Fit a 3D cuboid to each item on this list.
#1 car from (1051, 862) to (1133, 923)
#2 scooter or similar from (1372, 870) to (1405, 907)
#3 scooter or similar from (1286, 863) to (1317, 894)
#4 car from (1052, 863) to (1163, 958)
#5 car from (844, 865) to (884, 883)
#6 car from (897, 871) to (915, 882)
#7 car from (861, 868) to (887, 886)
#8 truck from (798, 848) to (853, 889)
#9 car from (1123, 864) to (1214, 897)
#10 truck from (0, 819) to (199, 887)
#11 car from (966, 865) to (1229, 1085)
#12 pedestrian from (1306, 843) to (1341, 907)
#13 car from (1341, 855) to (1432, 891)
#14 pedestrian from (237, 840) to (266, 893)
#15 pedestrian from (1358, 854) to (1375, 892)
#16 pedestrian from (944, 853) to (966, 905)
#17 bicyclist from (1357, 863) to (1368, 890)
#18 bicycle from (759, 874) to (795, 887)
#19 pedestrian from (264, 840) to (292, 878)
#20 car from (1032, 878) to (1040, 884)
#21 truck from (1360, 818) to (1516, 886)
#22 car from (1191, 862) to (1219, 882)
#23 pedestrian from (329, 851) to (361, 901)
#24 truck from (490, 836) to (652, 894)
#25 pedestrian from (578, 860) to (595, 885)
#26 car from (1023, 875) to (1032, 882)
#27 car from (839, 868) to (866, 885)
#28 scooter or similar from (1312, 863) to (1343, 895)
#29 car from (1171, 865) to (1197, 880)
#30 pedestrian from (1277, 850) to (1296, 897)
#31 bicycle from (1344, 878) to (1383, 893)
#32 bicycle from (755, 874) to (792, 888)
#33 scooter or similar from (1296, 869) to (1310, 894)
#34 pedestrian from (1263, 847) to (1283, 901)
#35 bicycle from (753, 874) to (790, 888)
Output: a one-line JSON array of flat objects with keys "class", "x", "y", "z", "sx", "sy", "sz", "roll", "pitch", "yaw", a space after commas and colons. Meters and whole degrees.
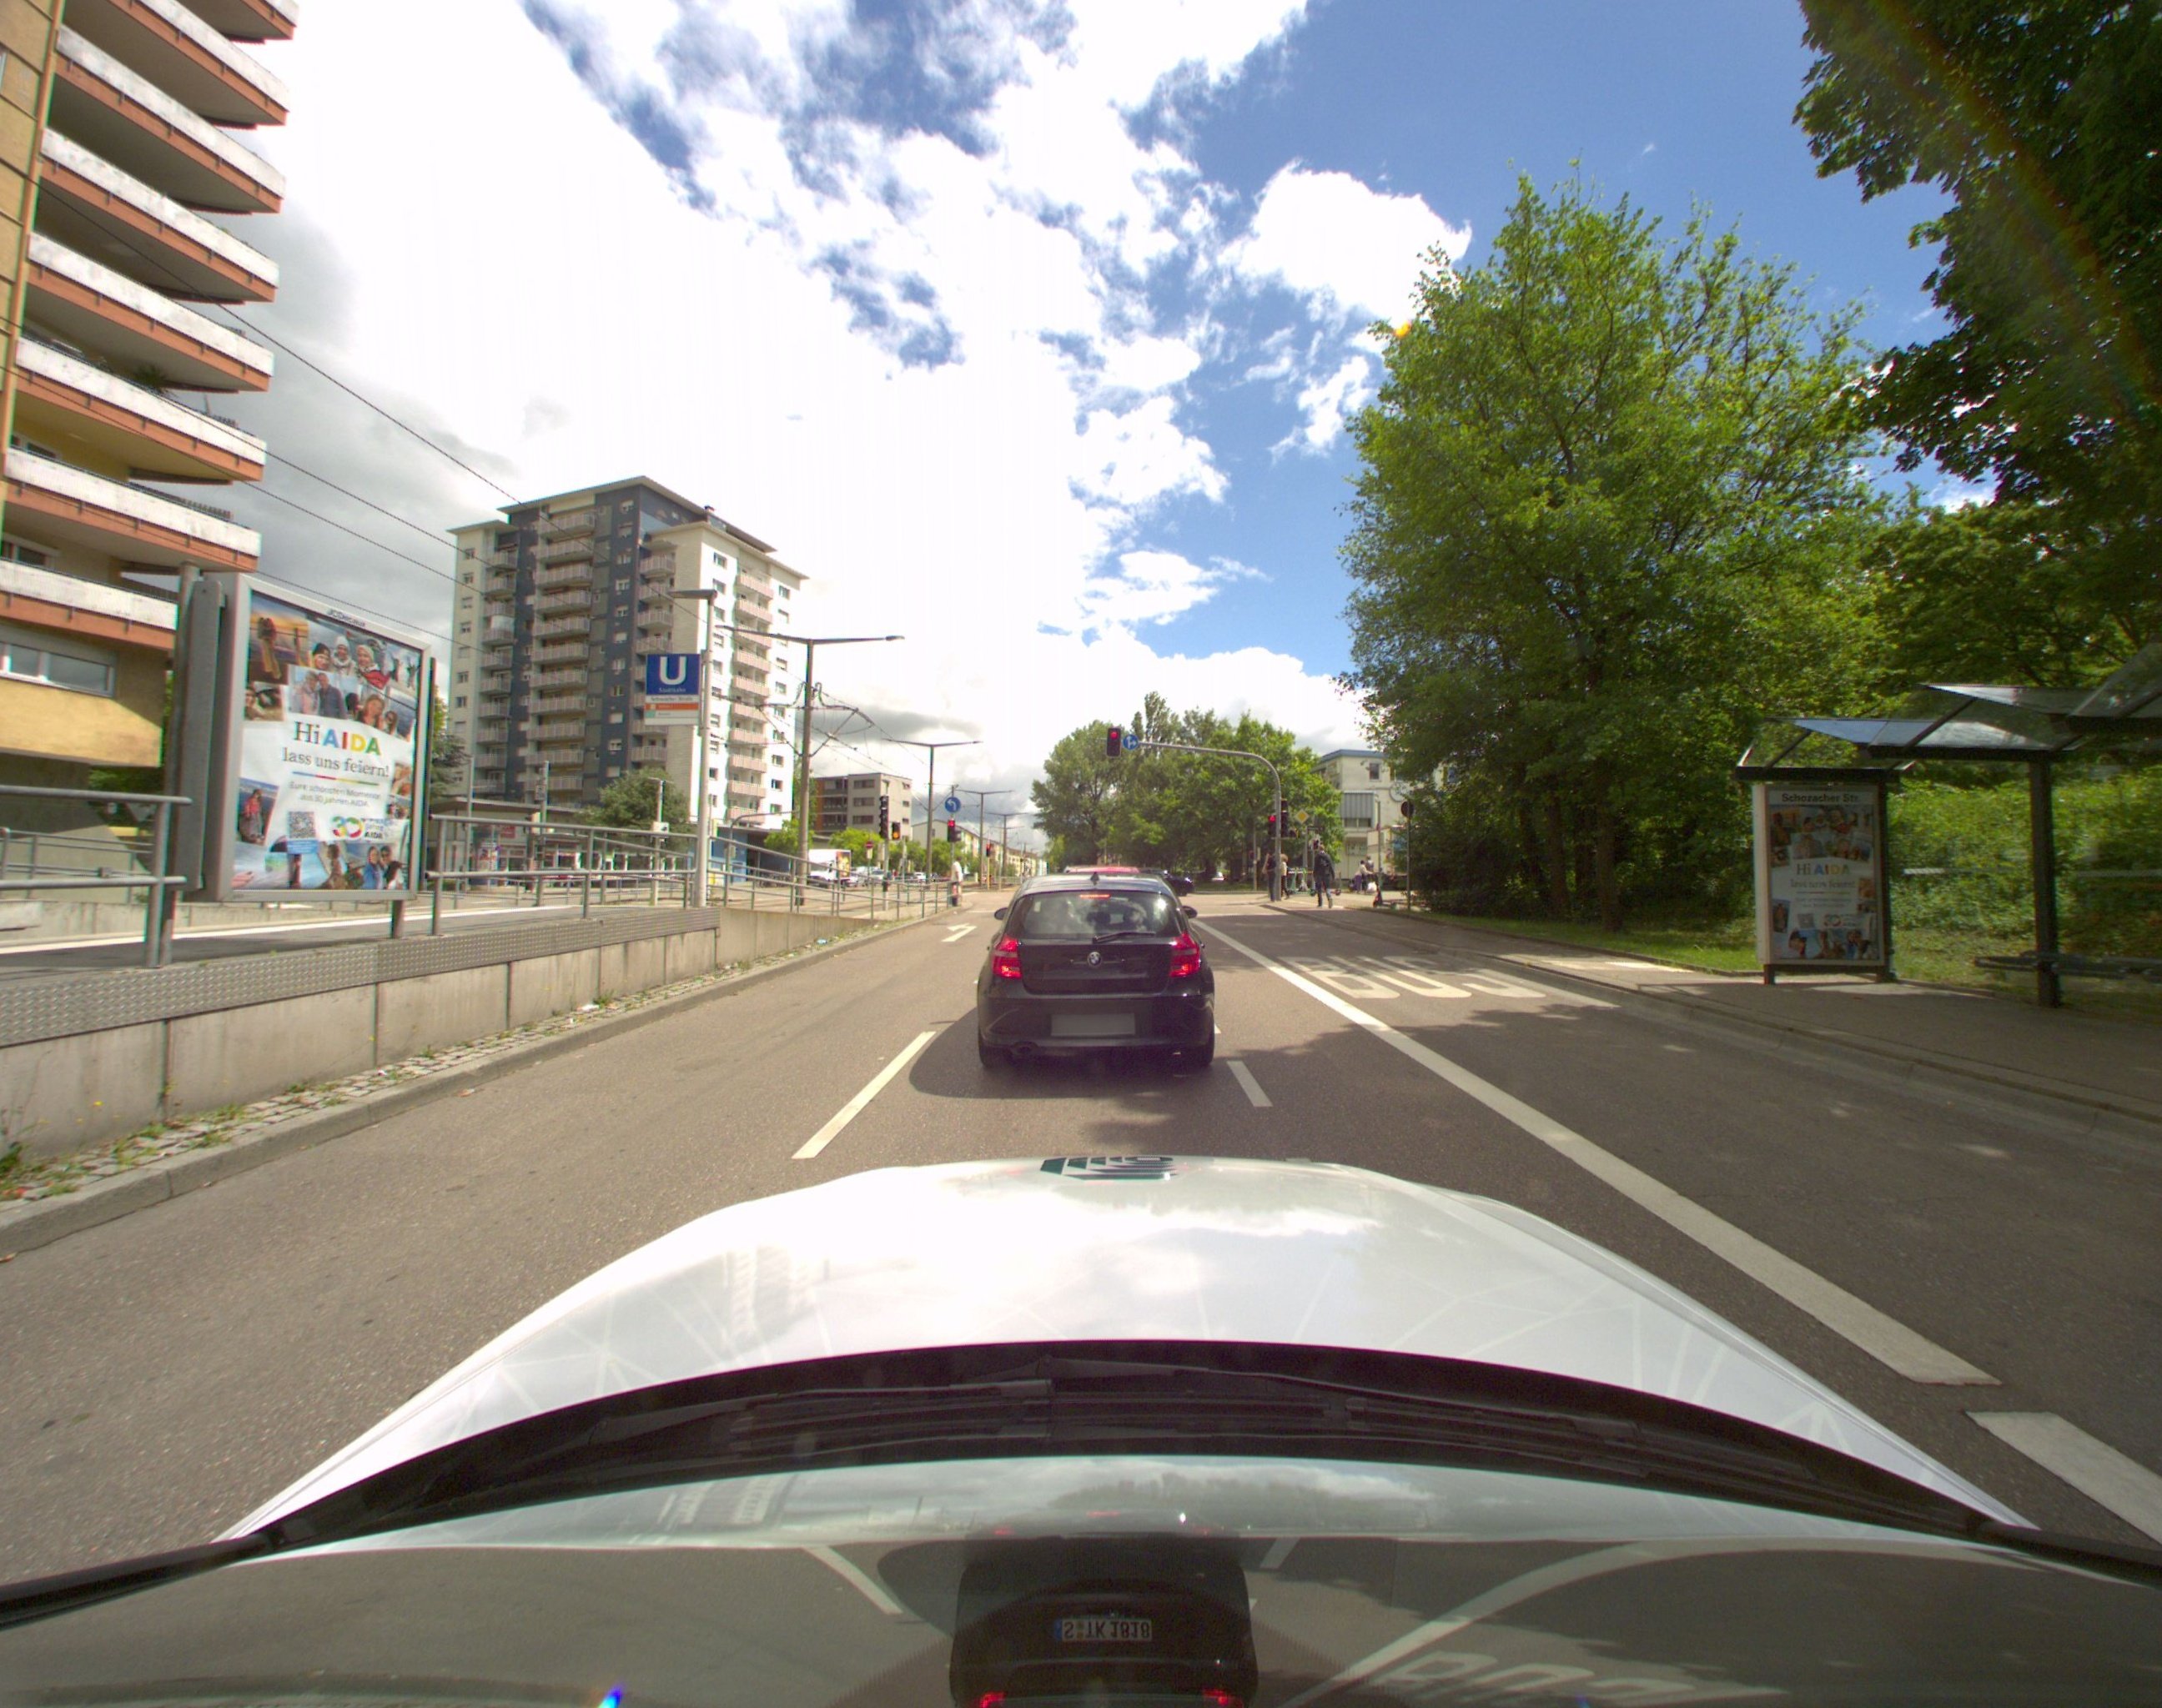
[{"class": "car", "x": 0.333, "y": 0.920, "z": 21.219, "sx": 1.893, "sy": 1.422, "sz": 4.540, "roll": 0, "pitch": -1, "yaw": 2}, {"class": "scooter or similar", "x": 10.707, "y": 1.195, "z": 28.384, "sx": 0.886, "sy": 1.230, "sz": 0.455, "roll": 4, "pitch": -1, "yaw": 1}, {"class": "scooter or similar", "x": 8.875, "y": 0.993, "z": 32.809, "sx": 1.105, "sy": 1.235, "sz": 0.540, "roll": 0, "pitch": -1, "yaw": 4}, {"class": "car", "x": 0.444, "y": 0.856, "z": 13.742, "sx": 1.632, "sy": 1.400, "sz": 3.421, "roll": 0, "pitch": -1, "yaw": 2}, {"class": "car", "x": -24.057, "y": 2.200, "z": 90.407, "sx": 3.945, "sy": 1.975, "sz": 1.637, "roll": 0, "pitch": -1, "yaw": -41}, {"class": "car", "x": -24.146, "y": 3.041, "z": 112.663, "sx": 1.586, "sy": 1.474, "sz": 3.775, "roll": 0, "pitch": -1, "yaw": 1}, {"class": "car", "x": -20.838, "y": 2.275, "z": 82.082, "sx": 1.586, "sy": 1.756, "sz": 3.775, "roll": 0, "pitch": -1, "yaw": 1}, {"class": "truck", "x": -20.523, "y": 1.179, "z": 65.810, "sx": 2.275, "sy": 3.118, "sz": 7.312, "roll": 0, "pitch": -1, "yaw": -2}, {"class": "car", "x": 4.245, "y": 1.258, "z": 39.548, "sx": 3.995, "sy": 1.486, "sz": 1.837, "roll": 0, "pitch": -1, "yaw": -16}, {"class": "truck", "x": -34.575, "y": -0.023, "z": 28.757, "sx": 4.262, "sy": 2.290, "sz": 2.352, "roll": 0, "pitch": -1, "yaw": 2}, {"class": "car", "x": 0.157, "y": 0.802, "z": 6.964, "sx": 1.694, "sy": 1.400, "sz": 3.421, "roll": 0, "pitch": -1, "yaw": 2}, {"class": "pedestrian", "x": 7.258, "y": 0.615, "z": 24.417, "sx": 0.792, "sy": 1.876, "sz": 1.014, "roll": -1, "pitch": -1, "yaw": 3}, {"class": "car", "x": 17.820, "y": 1.101, "z": 47.605, "sx": 4.529, "sy": 2.014, "sz": 1.996, "roll": -1, "pitch": -1, "yaw": -6}, {"class": "pedestrian", "x": -32.089, "y": 0.492, "z": 31.515, "sx": 0.556, "sy": 2.014, "sz": 0.542, "roll": 0, "pitch": -1, "yaw": 12}, {"class": "pedestrian", "x": 13.122, "y": 0.875, "z": 37.387, "sx": 0.651, "sy": 1.713, "sz": 0.464, "roll": -1, "pitch": -1, "yaw": 28}, {"class": "pedestrian", "x": -4.311, "y": 0.855, "z": 27.868, "sx": 0.687, "sy": 1.734, "sz": 0.686, "roll": 0, "pitch": -1, "yaw": -7}, {"class": "bicyclist", "x": 12.223, "y": 0.990, "z": 35.327, "sx": 0.395, "sy": 1.157, "sz": 0.505, "roll": -1, "pitch": -1, "yaw": 23}, {"class": "bicycle", "x": -24.276, "y": 2.138, "z": 65.079, "sx": 2.570, "sy": 1.009, "sz": 0.749, "roll": 2, "pitch": -3, "yaw": -27}, {"class": "pedestrian", "x": -30.836, "y": 0.192, "z": 31.274, "sx": 0.494, "sy": 1.440, "sz": 0.551, "roll": -2, "pitch": -1, "yaw": 12}, {"class": "car", "x": -10.714, "y": 6.389, "z": 193.760, "sx": 1.651, "sy": 1.534, "sz": 3.858, "roll": 0, "pitch": -1, "yaw": -10}, {"class": "truck", "x": 18.629, "y": -0.107, "z": 42.623, "sx": 7.271, "sy": 3.348, "sz": 2.598, "roll": 0, "pitch": -1, "yaw": -11}, {"class": "car", "x": 12.056, "y": 1.748, "z": 79.569, "sx": 1.724, "sy": 1.871, "sz": 3.990, "roll": 0, "pitch": -1, "yaw": -7}, {"class": "pedestrian", "x": -26.403, "y": 0.785, "z": 29.218, "sx": 0.650, "sy": 1.776, "sz": 0.667, "roll": -1, "pitch": -1, "yaw": 30}, {"class": "truck", "x": -26.717, "y": 0.590, "z": 42.793, "sx": 7.222, "sy": 2.940, "sz": 2.768, "roll": -1, "pitch": -1, "yaw": 11}, {"class": "pedestrian", "x": -39.741, "y": 1.468, "z": 65.439, "sx": 0.851, "sy": 2.014, "sz": 0.852, "roll": -1, "pitch": -1, "yaw": 29}, {"class": "car", "x": -11.862, "y": 5.358, "z": 180.458, "sx": 1.788, "sy": 1.410, "sz": 3.999, "roll": 0, "pitch": -1, "yaw": 0}, {"class": "car", "x": -20.601, "y": 2.025, "z": 73.451, "sx": 1.402, "sy": 1.461, "sz": 3.773, "roll": 0, "pitch": -1, "yaw": 0}, {"class": "scooter or similar", "x": 10.217, "y": 1.033, "z": 33.740, "sx": 1.145, "sy": 1.272, "sz": 0.556, "roll": 1, "pitch": -1, "yaw": 4}, {"class": "car", "x": 11.427, "y": 2.080, "z": 90.564, "sx": 1.862, "sy": 1.662, "sz": 3.987, "roll": 0, "pitch": -1, "yaw": -9}, {"class": "pedestrian", "x": 7.681, "y": 0.721, "z": 30.493, "sx": 0.632, "sy": 1.766, "sz": 0.519, "roll": 0, "pitch": -1, "yaw": 10}, {"class": "bicycle", "x": 12.243, "y": 1.346, "z": 35.300, "sx": 1.572, "sy": 0.610, "sz": 0.537, "roll": 0, "pitch": 0, "yaw": 22}, {"class": "bicycle", "x": -24.153, "y": 2.128, "z": 63.974, "sx": 2.570, "sy": 1.009, "sz": 0.749, "roll": 2, "pitch": -3, "yaw": -27}, {"class": "scooter or similar", "x": 9.481, "y": 1.165, "z": 34.801, "sx": 0.543, "sy": 1.064, "sz": 1.267, "roll": 0, "pitch": -1, "yaw": 16}, {"class": "pedestrian", "x": 6.775, "y": 0.714, "z": 28.769, "sx": 0.632, "sy": 1.876, "sz": 0.519, "roll": 0, "pitch": -1, "yaw": 10}, {"class": "bicycle", "x": -23.929, "y": 2.110, "z": 62.974, "sx": 2.570, "sy": 1.009, "sz": 0.749, "roll": 2, "pitch": -3, "yaw": -27}]
